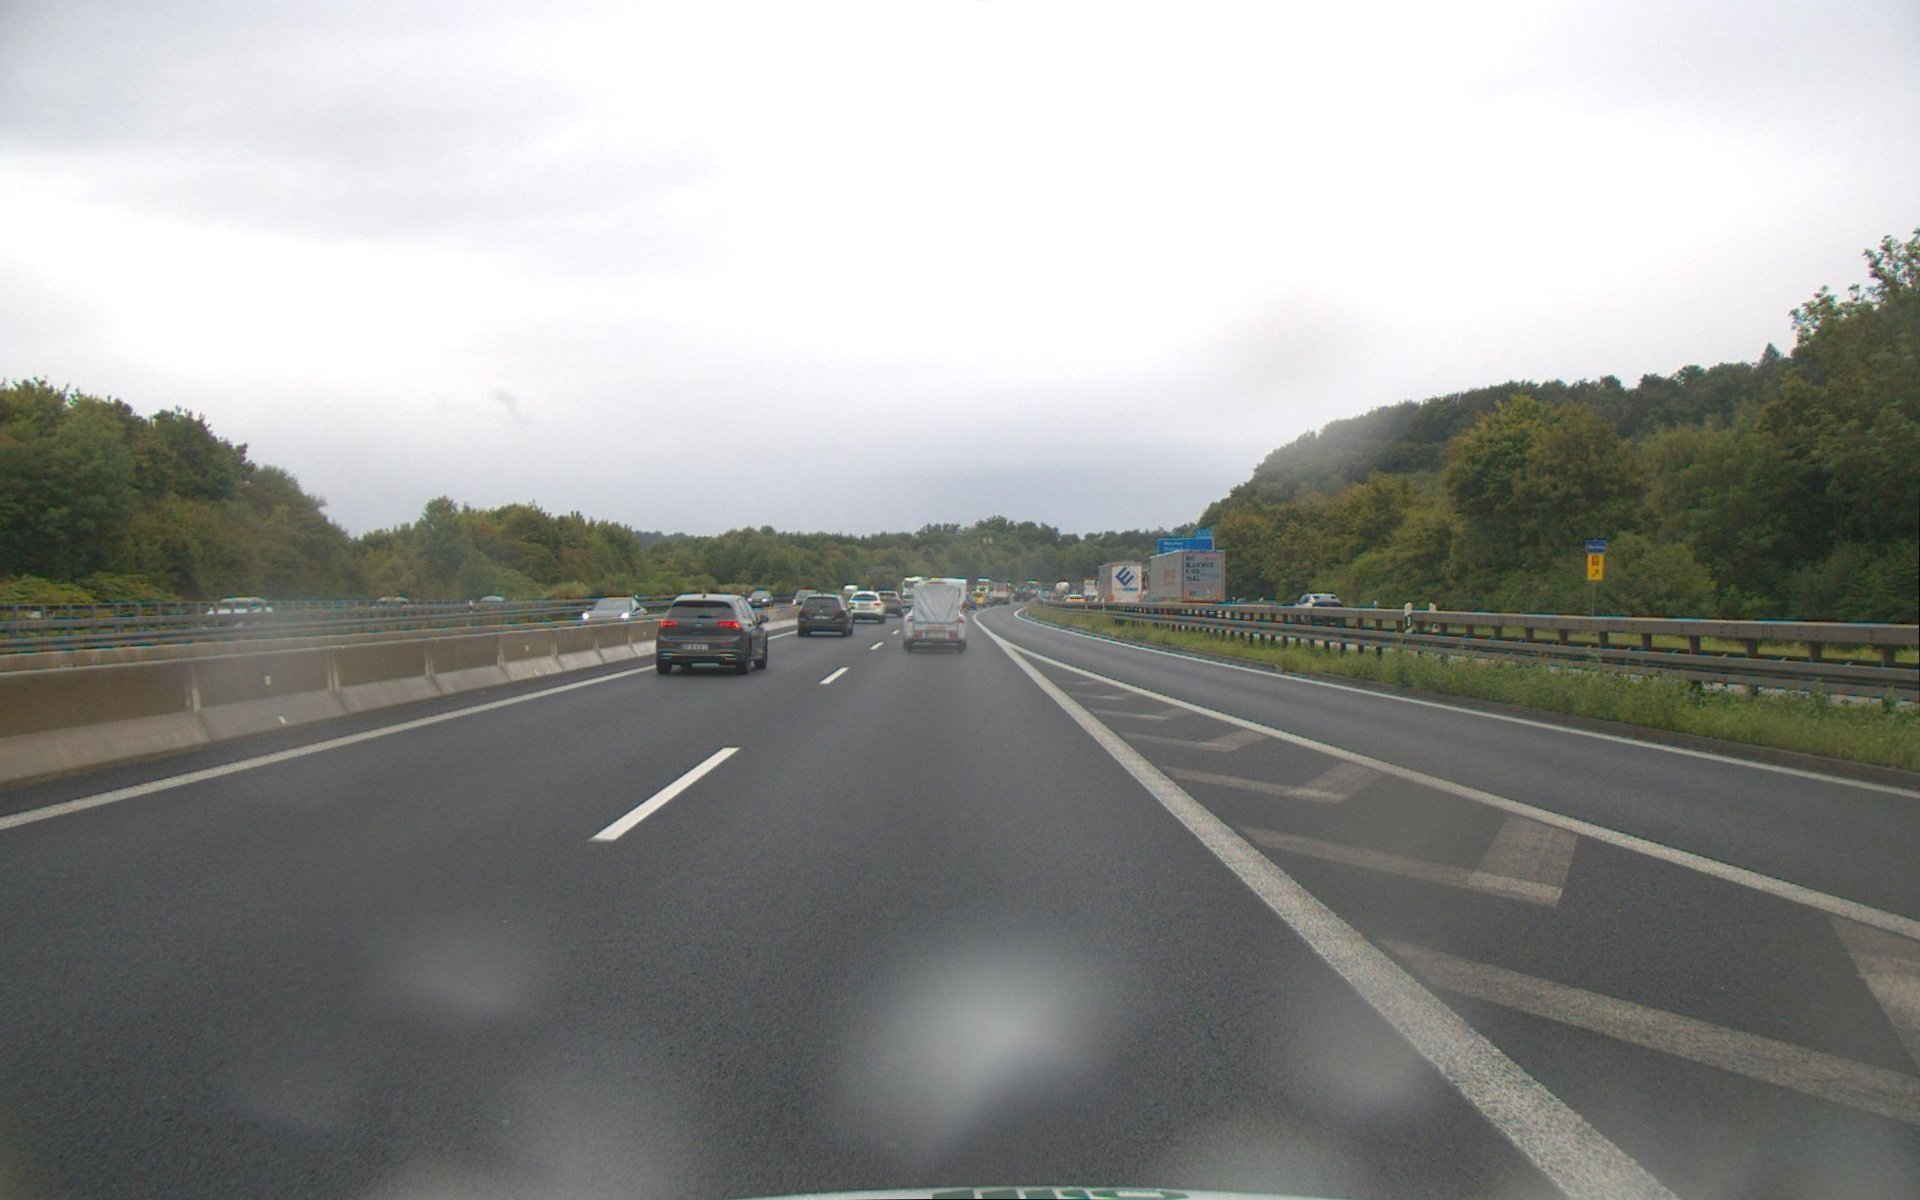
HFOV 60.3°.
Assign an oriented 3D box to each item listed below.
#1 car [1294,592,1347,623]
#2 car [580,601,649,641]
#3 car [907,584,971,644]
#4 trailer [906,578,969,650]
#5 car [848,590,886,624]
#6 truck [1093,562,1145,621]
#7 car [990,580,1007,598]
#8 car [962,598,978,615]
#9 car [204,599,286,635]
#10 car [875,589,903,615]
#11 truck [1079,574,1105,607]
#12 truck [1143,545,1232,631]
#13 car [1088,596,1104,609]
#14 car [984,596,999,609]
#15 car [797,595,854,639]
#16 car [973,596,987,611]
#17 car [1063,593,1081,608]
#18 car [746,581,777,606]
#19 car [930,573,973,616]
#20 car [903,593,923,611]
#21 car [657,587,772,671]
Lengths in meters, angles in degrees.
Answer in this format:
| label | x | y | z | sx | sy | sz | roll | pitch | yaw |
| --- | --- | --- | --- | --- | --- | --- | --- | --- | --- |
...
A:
| label | x | y | z | sx | sy | sz | roll | pitch | yaw |
| --- | --- | --- | --- | --- | --- | --- | --- | --- | --- |
| car | 17.915 | 0.355 | 82.272 | 1.642 | 1.481 | 3.999 | 1 | 0 | -2 |
| car | -13.330 | 0.800 | 64.025 | 1.720 | 1.481 | 4.417 | 1 | 0 | -1 |
| car | -0.591 | 0.398 | 48.863 | 1.781 | 1.644 | 4.777 | 1 | 0 | 0 |
| trailer | -0.589 | 0.376 | 45.347 | 1.641 | 1.844 | 4.000 | 1 | 0 | 0 |
| car | -4.800 | 0.373 | 85.754 | 1.739 | 1.669 | 4.042 | 1 | 0 | -1 |
| truck | 13.356 | -0.680 | 140.117 | 3.150 | 4.748 | 13.031 | 1 | 0 | 0 |
| car | 5.799 | -1.653 | 248.862 | 2.463 | 2.620 | 5.313 | 1 | 0 | 2 |
| car | 1.127 | 0.687 | 183.094 | 1.641 | 1.844 | 4.001 | 1 | 0 | 2 |
| car | -30.521 | 0.720 | 70.753 | 1.642 | 1.481 | 4.630 | 1 | 0 | -3 |
| car | -4.819 | 0.149 | 112.018 | 1.739 | 1.669 | 4.042 | 1 | 0 | -1 |
| truck | 19.271 | -1.311 | 242.229 | 3.586 | 4.748 | 13.039 | 1 | 0 | 4 |
| truck | 13.512 | -0.657 | 99.612 | 3.150 | 4.748 | 13.028 | 1 | 0 | -2 |
| car | 16.140 | 0.261 | 196.666 | 1.641 | 1.481 | 4.000 | 1 | 0 | 1 |
| car | 4.307 | 0.328 | 224.268 | 1.995 | 1.712 | 4.001 | 1 | 0 | 2 |
| car | -4.755 | 0.580 | 58.911 | 1.729 | 1.481 | 3.999 | 1 | 0 | -1 |
| car | 2.545 | 0.423 | 210.526 | 1.641 | 1.844 | 4.001 | 1 | 0 | 2 |
| car | 10.779 | 0.053 | 158.933 | 1.641 | 1.481 | 4.001 | 1 | 0 | 3 |
| car | -16.586 | -0.502 | 138.269 | 1.953 | 2.049 | 4.982 | 1 | 0 | -1 |
| car | -0.486 | -0.319 | 104.442 | 2.455 | 2.630 | 5.701 | 1 | 0 | 2 |
| car | -4.458 | 0.153 | 157.371 | 1.739 | 1.669 | 4.042 | 1 | 0 | 0 |
| car | -4.663 | 0.530 | 31.874 | 1.641 | 1.481 | 3.999 | 1 | 0 | -1 |
